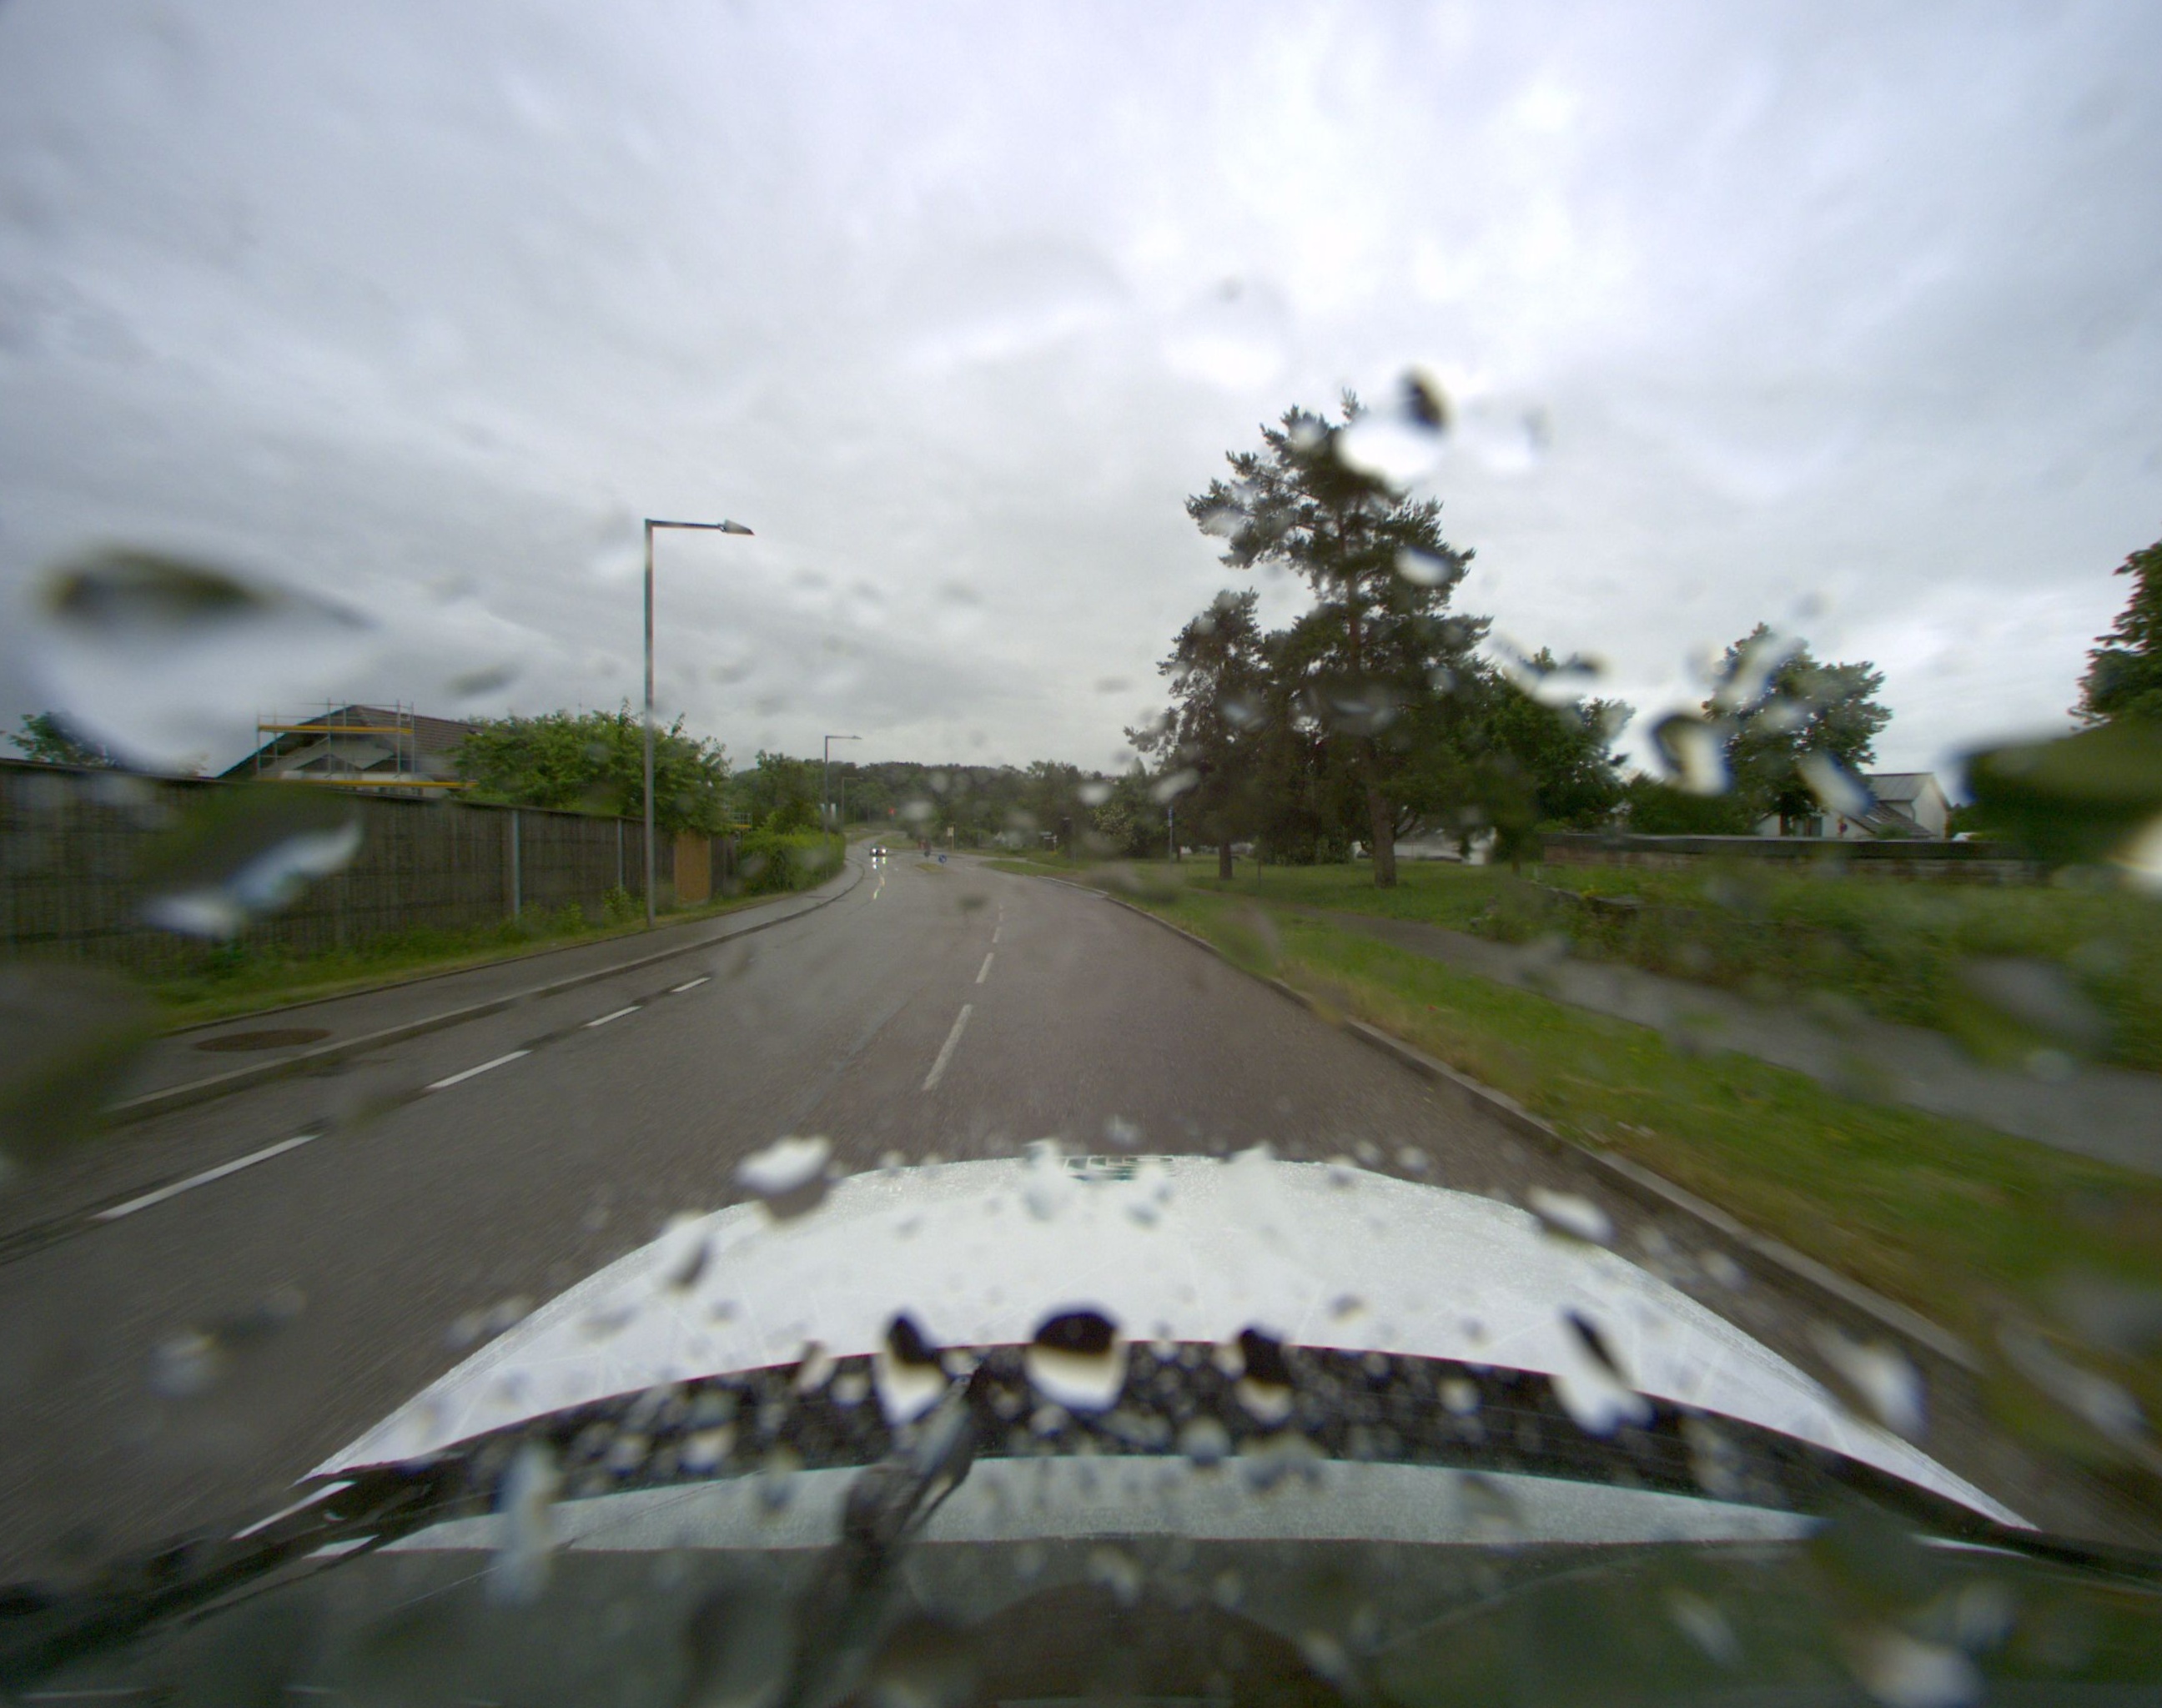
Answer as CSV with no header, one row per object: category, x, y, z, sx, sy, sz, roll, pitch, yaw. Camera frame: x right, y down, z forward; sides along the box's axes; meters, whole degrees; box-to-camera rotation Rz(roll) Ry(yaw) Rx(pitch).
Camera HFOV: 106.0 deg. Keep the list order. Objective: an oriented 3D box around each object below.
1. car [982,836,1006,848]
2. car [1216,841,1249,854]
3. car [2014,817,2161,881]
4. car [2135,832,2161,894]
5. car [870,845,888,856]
car,-14.416,-2.008,135.430,3.380,1.690,2.012,-1,-3,27
car,22.782,-0.957,122.662,4.500,1.750,1.925,-3,-1,41
car,43.807,-0.320,35.044,6.687,2.497,2.596,-2,3,-20
car,29.676,0.254,20.276,1.818,1.652,4.004,0,0,4
car,-27.103,-0.520,109.033,1.463,1.355,3.501,2,1,-29
